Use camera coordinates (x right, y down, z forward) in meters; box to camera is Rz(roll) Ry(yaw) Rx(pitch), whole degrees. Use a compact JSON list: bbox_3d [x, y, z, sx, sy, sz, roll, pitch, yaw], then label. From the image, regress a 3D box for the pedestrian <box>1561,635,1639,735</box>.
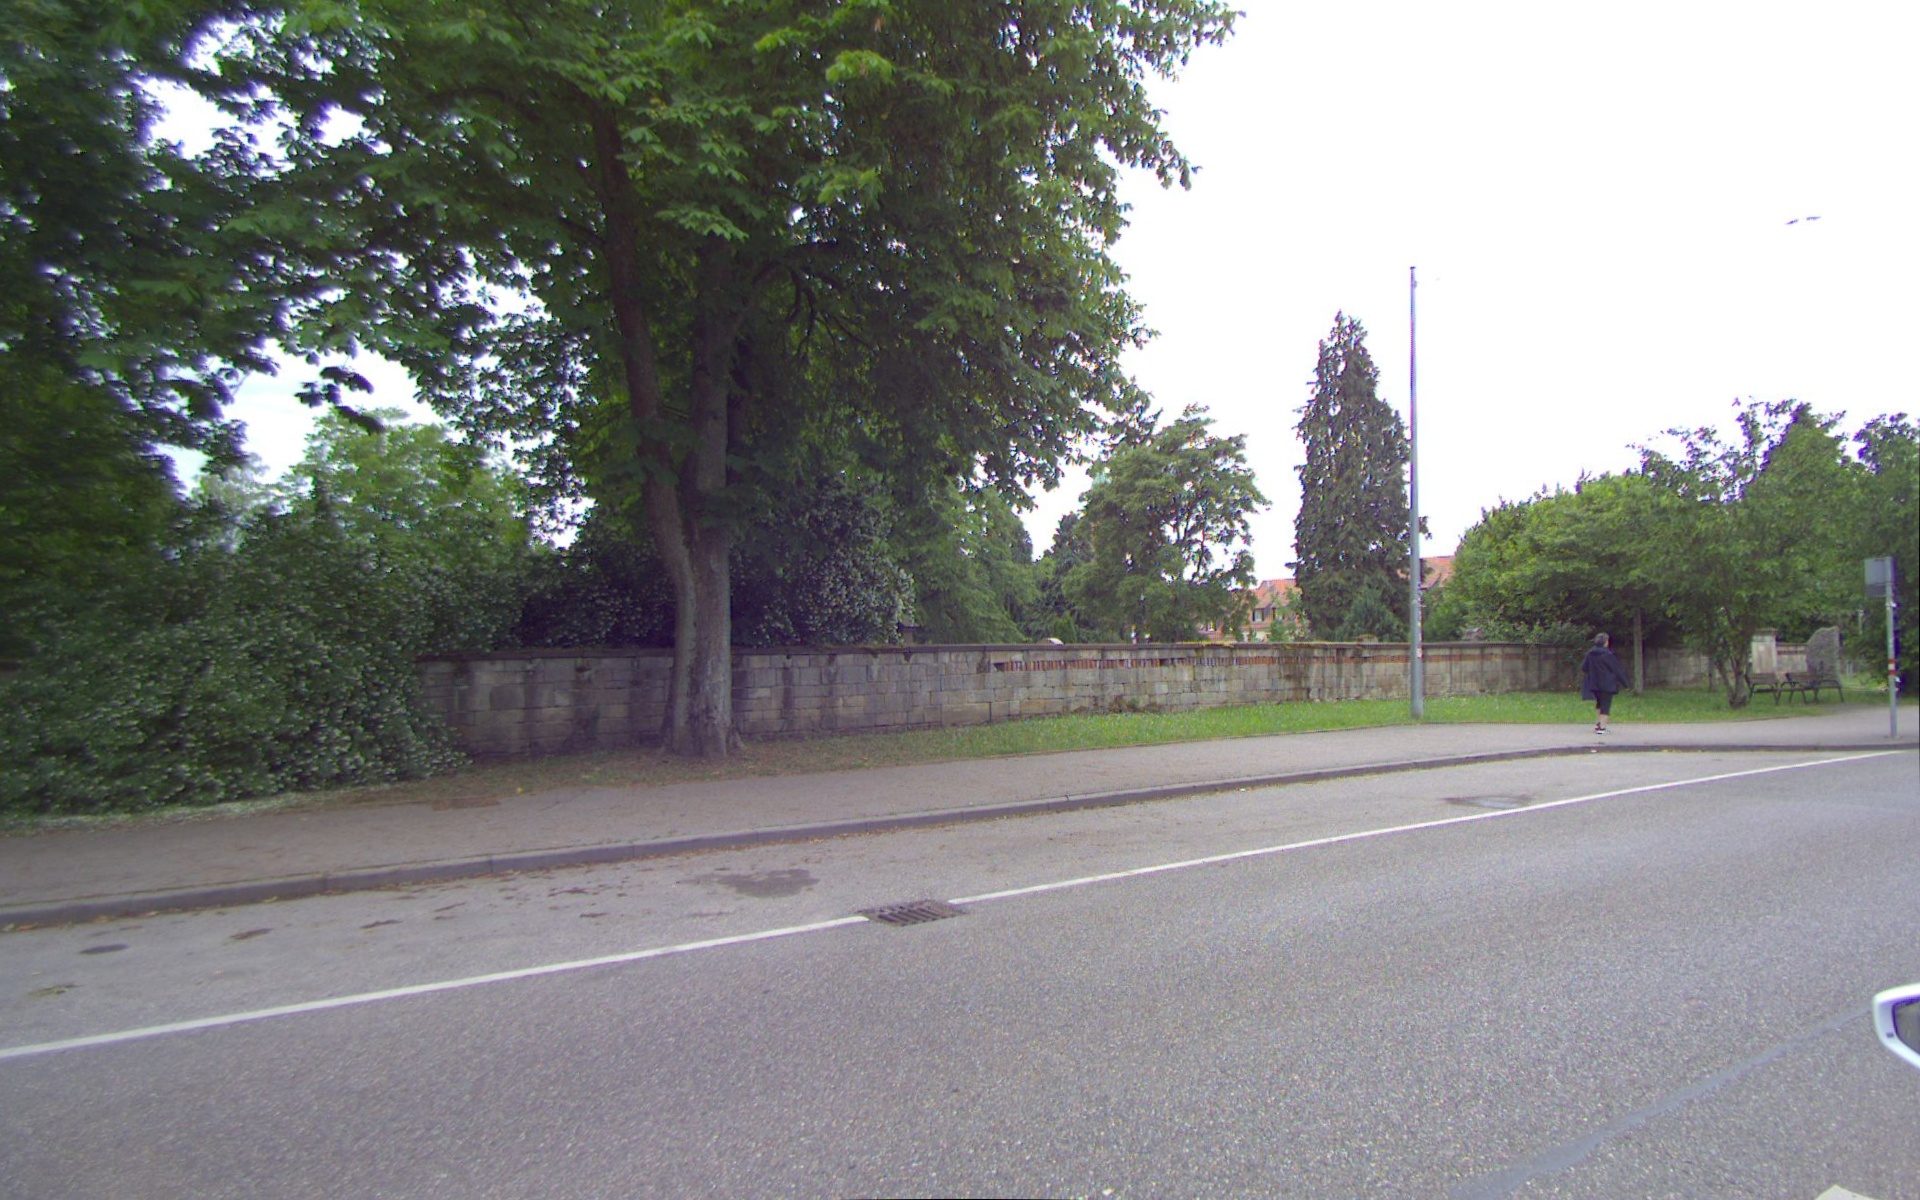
[{"bbox_3d":[10.640,1.389,16.697,0.955,1.599,0.745,1,-1,-30],"label":"pedestrian"}]
